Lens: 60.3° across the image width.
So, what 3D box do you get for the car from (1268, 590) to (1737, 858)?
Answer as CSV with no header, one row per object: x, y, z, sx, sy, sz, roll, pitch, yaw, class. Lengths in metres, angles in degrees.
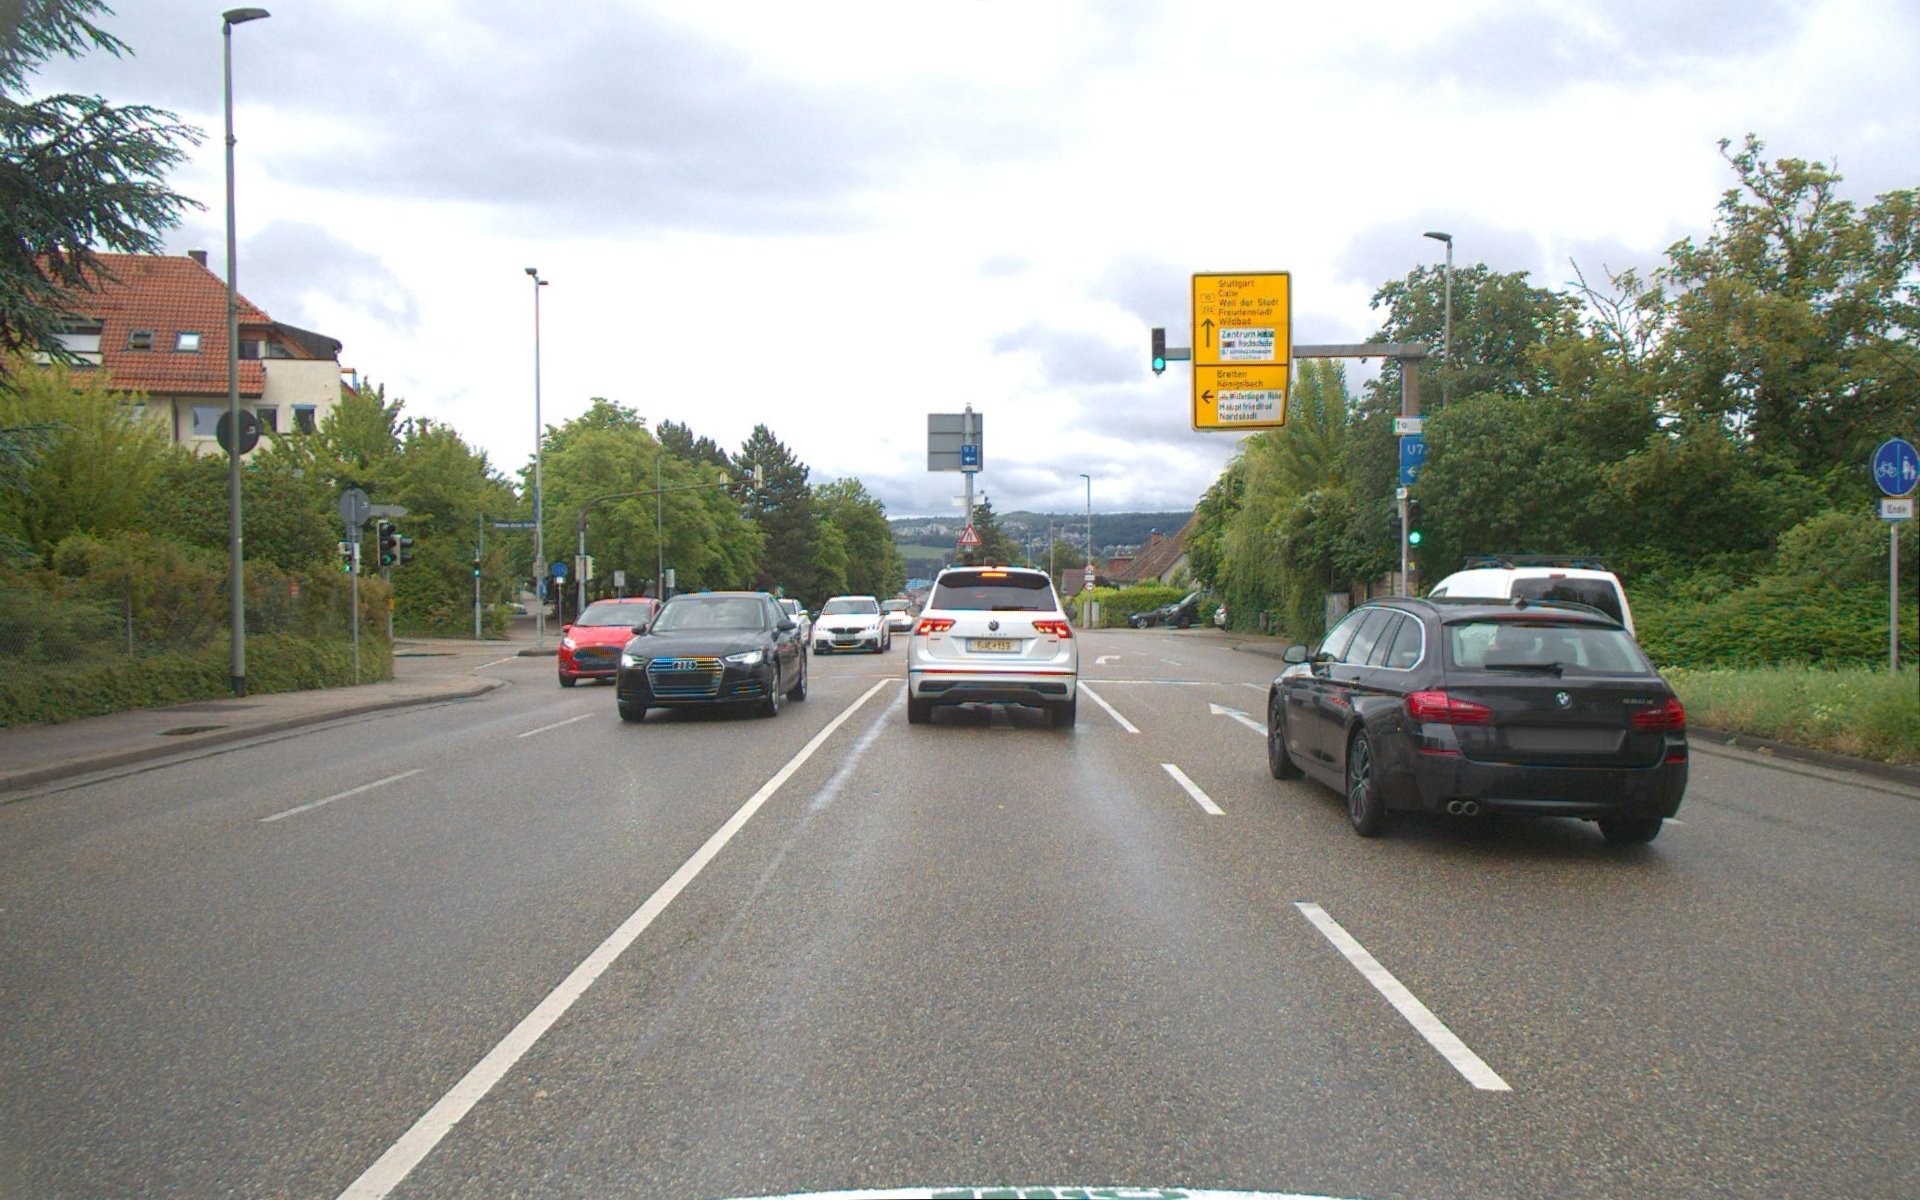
3.349,0.676,11.080,1.860,1.467,4.000,0,0,0,car

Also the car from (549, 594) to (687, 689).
-5.937,0.678,29.062,1.598,1.482,3.702,-2,0,0,car

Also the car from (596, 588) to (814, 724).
-2.943,0.593,20.001,1.853,1.428,4.265,-1,0,1,car

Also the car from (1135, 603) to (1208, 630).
11.686,0.887,91.552,3.903,1.400,1.586,1,0,4,car

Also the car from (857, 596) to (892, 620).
-4.776,0.447,92.753,1.616,1.295,3.622,0,0,2,car

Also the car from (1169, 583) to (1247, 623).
12.966,0.162,86.733,3.903,1.990,1.586,1,0,4,car

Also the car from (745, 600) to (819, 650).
-5.369,0.728,50.401,1.738,1.409,4.549,-1,0,0,car

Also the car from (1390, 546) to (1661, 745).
6.161,0.396,18.481,1.728,1.909,3.807,1,3,1,car

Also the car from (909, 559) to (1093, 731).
0.430,0.431,18.573,1.830,1.703,4.000,1,1,0,car

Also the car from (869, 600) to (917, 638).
-2.751,0.772,68.766,1.738,1.484,4.549,-1,0,1,car

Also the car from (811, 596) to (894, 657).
-2.714,0.645,42.685,1.713,1.409,4.412,-2,0,1,car
